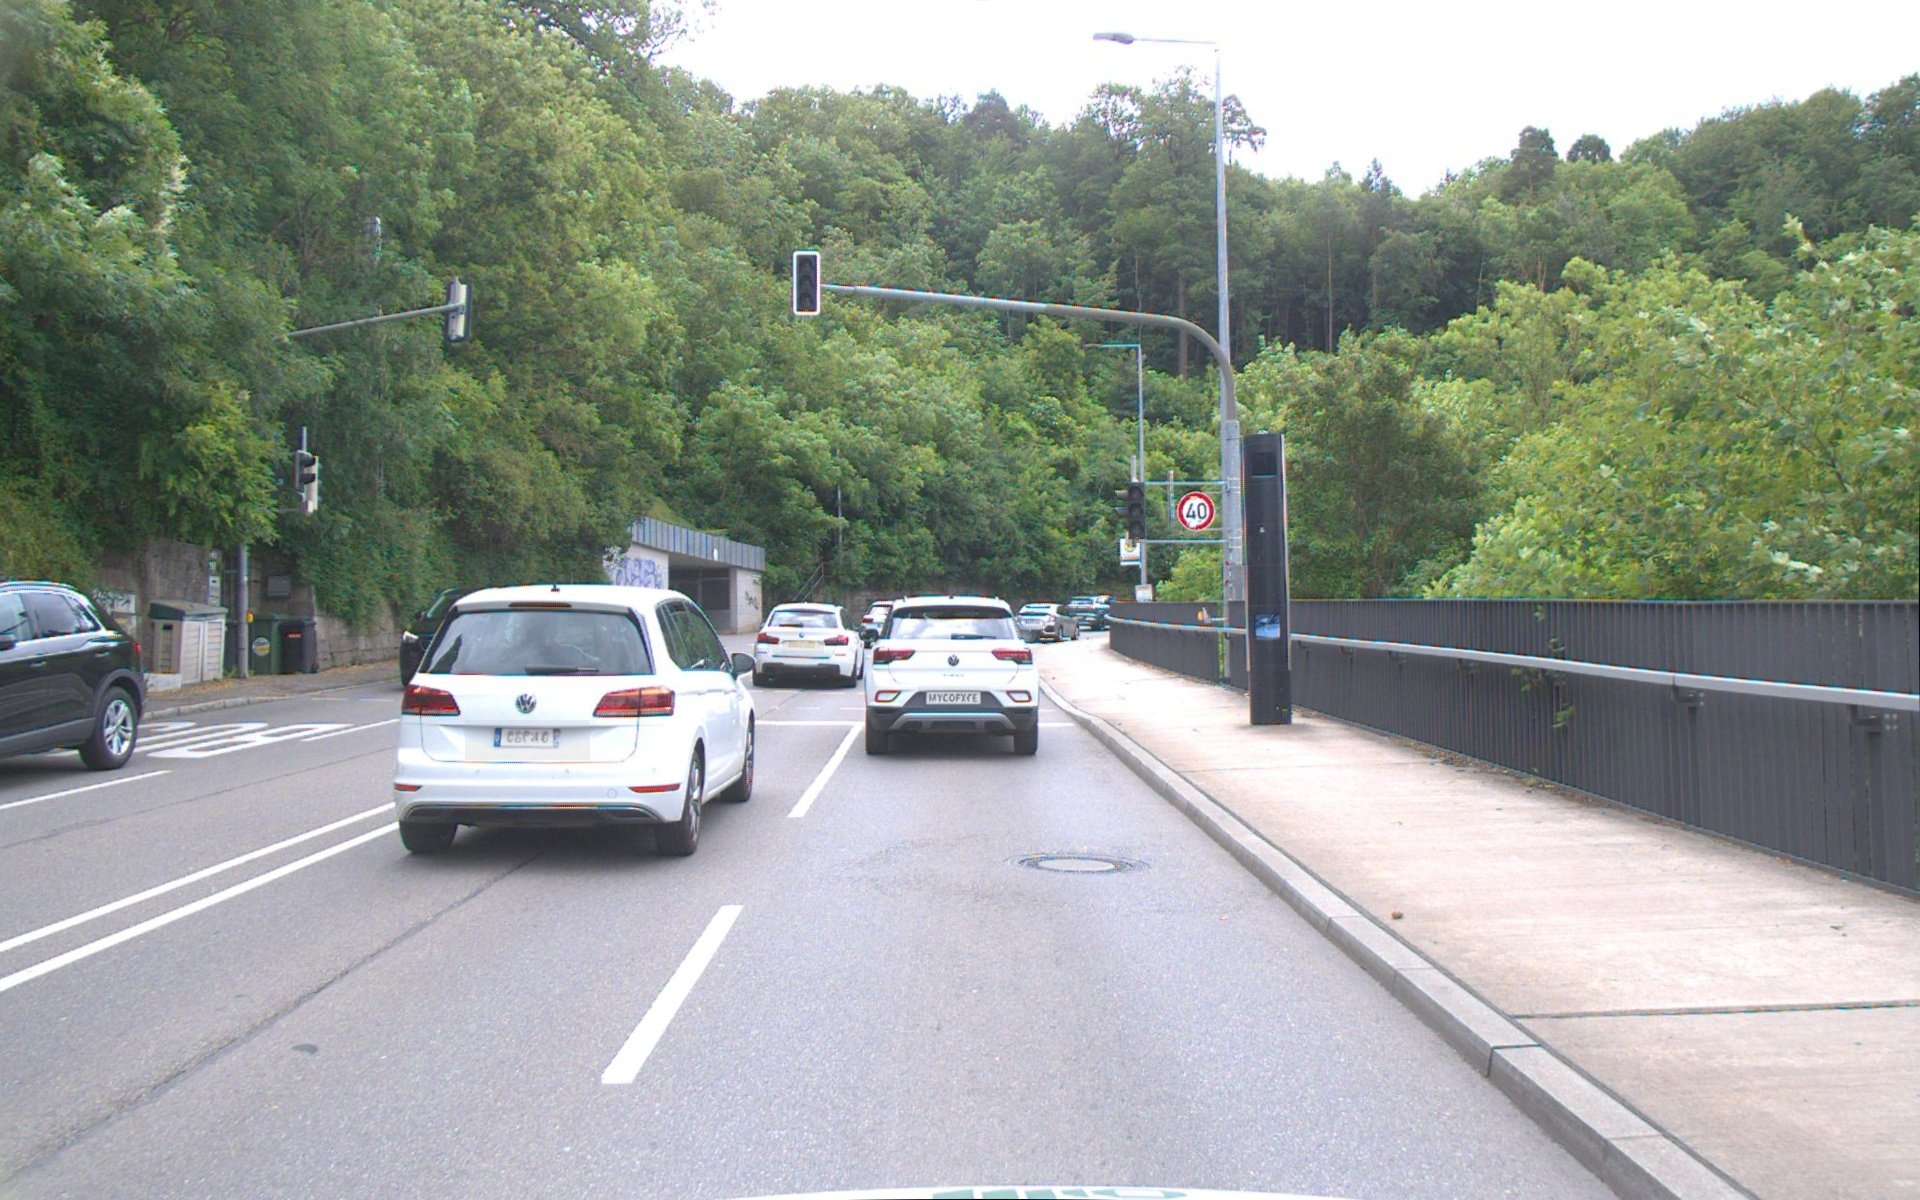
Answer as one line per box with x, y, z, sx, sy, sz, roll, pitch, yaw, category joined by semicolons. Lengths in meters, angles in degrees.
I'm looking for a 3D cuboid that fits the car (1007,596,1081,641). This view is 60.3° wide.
3.189;0.690;61.756;1.989;1.545;4.204;2;-1;13;car

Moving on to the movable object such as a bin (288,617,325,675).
-11.235;0.792;28.458;0.418;0.966;0.479;2;-1;-2;movable object such as a bin

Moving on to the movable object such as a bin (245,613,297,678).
-11.805;0.773;28.335;0.629;1.086;0.556;2;-1;-2;movable object such as a bin

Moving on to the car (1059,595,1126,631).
6.103;0.604;75.804;1.844;1.545;3.998;2;-1;24;car

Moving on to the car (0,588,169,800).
-8.096;0.710;12.830;1.902;1.576;4.248;0;-1;0;car

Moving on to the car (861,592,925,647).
-2.113;0.621;53.031;1.824;1.623;3.999;2;-1;0;car

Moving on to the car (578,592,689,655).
-8.259;0.587;42.184;1.775;1.459;4.250;2;-1;3;car

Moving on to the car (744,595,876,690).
-2.683;0.731;30.639;1.952;1.585;4.681;1;0;0;car

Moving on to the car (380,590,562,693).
-7.918;0.612;27.171;1.745;1.508;4.211;2;0;-1;car

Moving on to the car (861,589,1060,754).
0.116;0.700;17.746;1.775;1.566;4.011;0;-1;5;car

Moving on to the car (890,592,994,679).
-0.372;0.817;39.192;1.951;1.875;4.153;2;-1;6;car

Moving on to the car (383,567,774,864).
-2.290;0.626;11.030;1.685;1.581;4.274;0;0;-1;car
